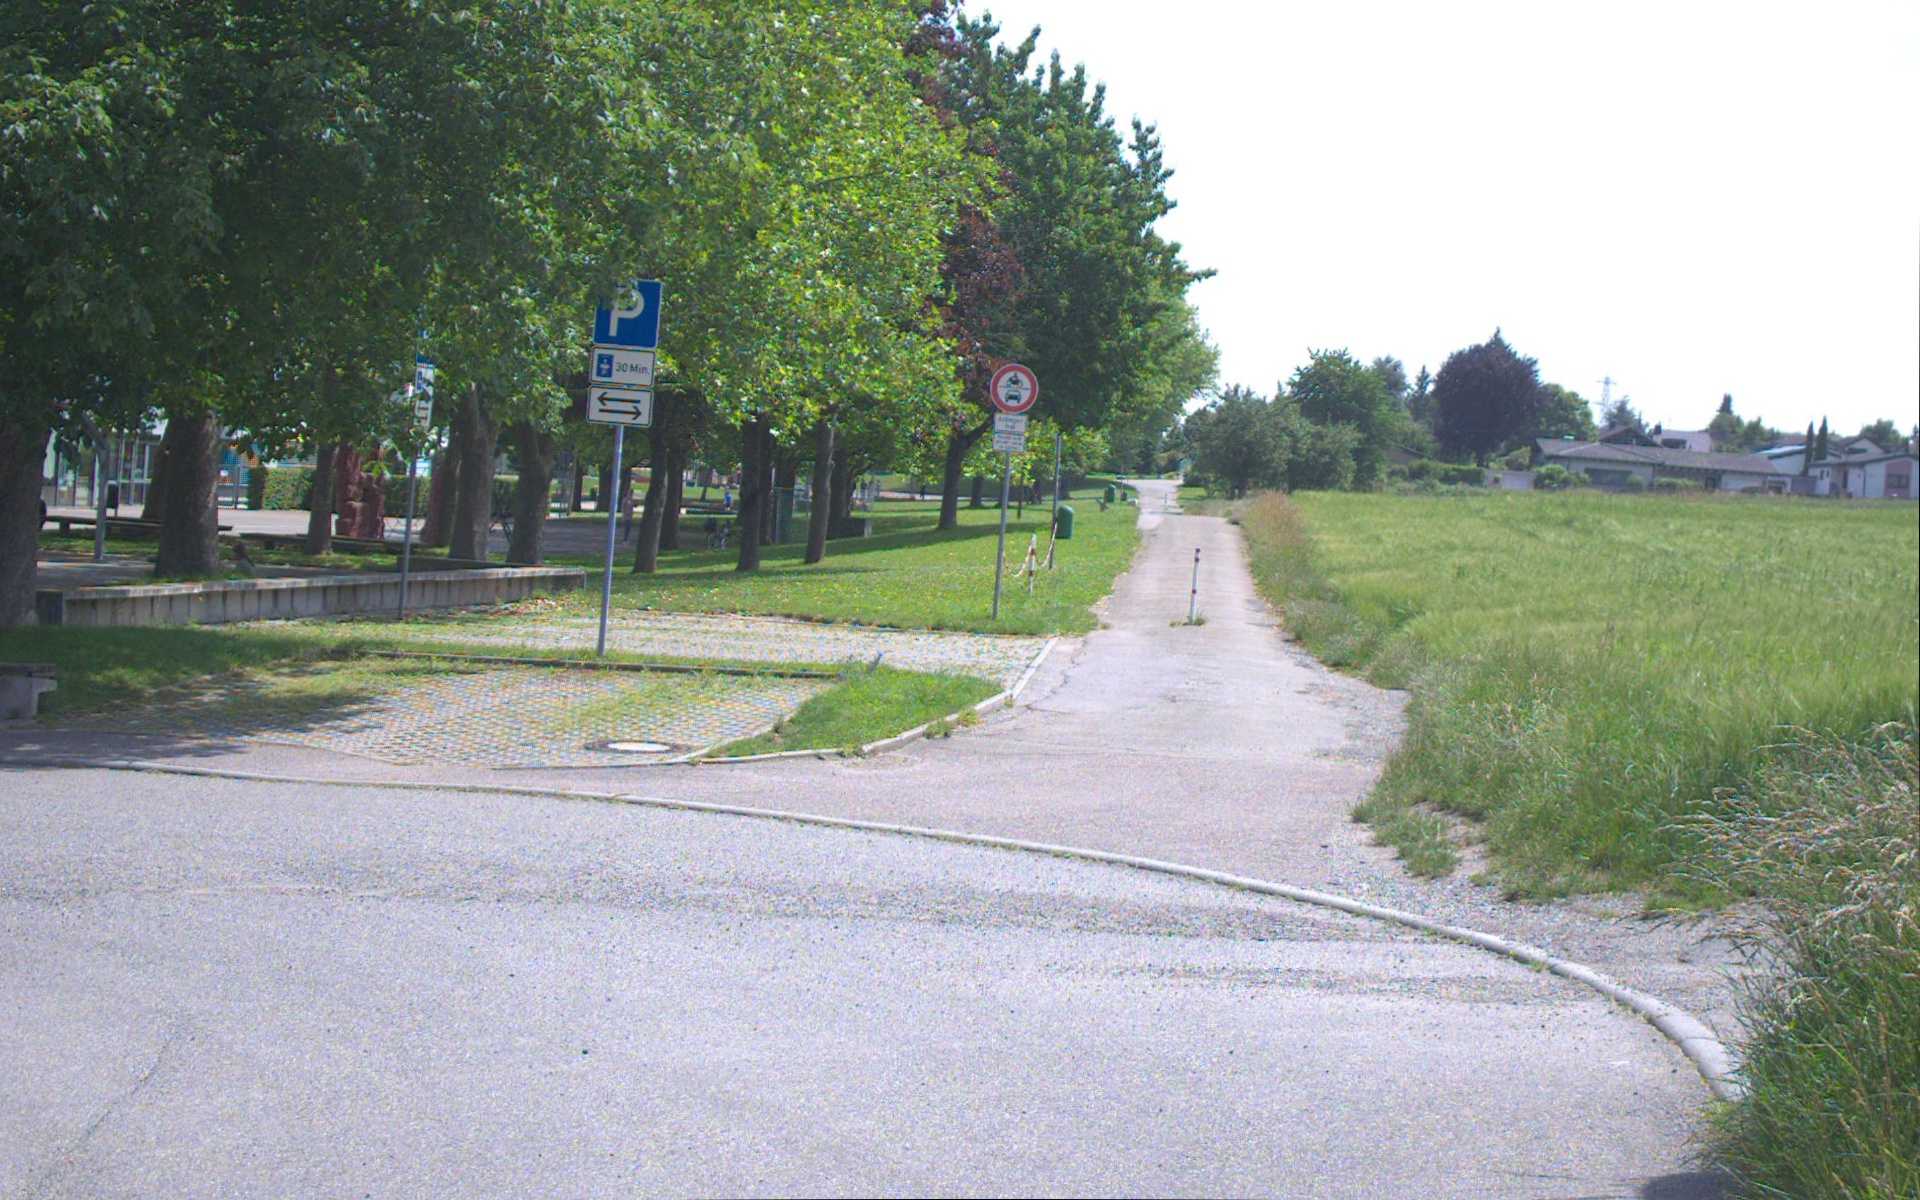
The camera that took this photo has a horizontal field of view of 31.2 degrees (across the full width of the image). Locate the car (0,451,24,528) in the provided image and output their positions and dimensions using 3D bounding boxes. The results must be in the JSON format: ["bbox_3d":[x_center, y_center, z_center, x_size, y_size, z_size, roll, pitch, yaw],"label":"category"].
[{"bbox_3d":[-23.550,-2.660,81.484,1.691,1.828,3.411,3,1,0],"label":"car"}]

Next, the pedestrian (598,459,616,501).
[{"bbox_3d":[-16.939,-5.769,165.047,0.723,2.007,0.682,0,1,6],"label":"pedestrian"}]

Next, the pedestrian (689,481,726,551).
[{"bbox_3d":[-7.405,-2.456,100.844,0.682,2.007,0.803,3,1,-30],"label":"pedestrian"}]

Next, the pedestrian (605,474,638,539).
[{"bbox_3d":[-10.782,-2.988,109.501,0.832,2.007,0.692,3,1,-13],"label":"pedestrian"}]

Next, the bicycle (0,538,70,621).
[{"bbox_3d":[-12.551,-0.285,44.170,2.062,1.035,0.572,2,1,-5],"label":"bicycle"}]
